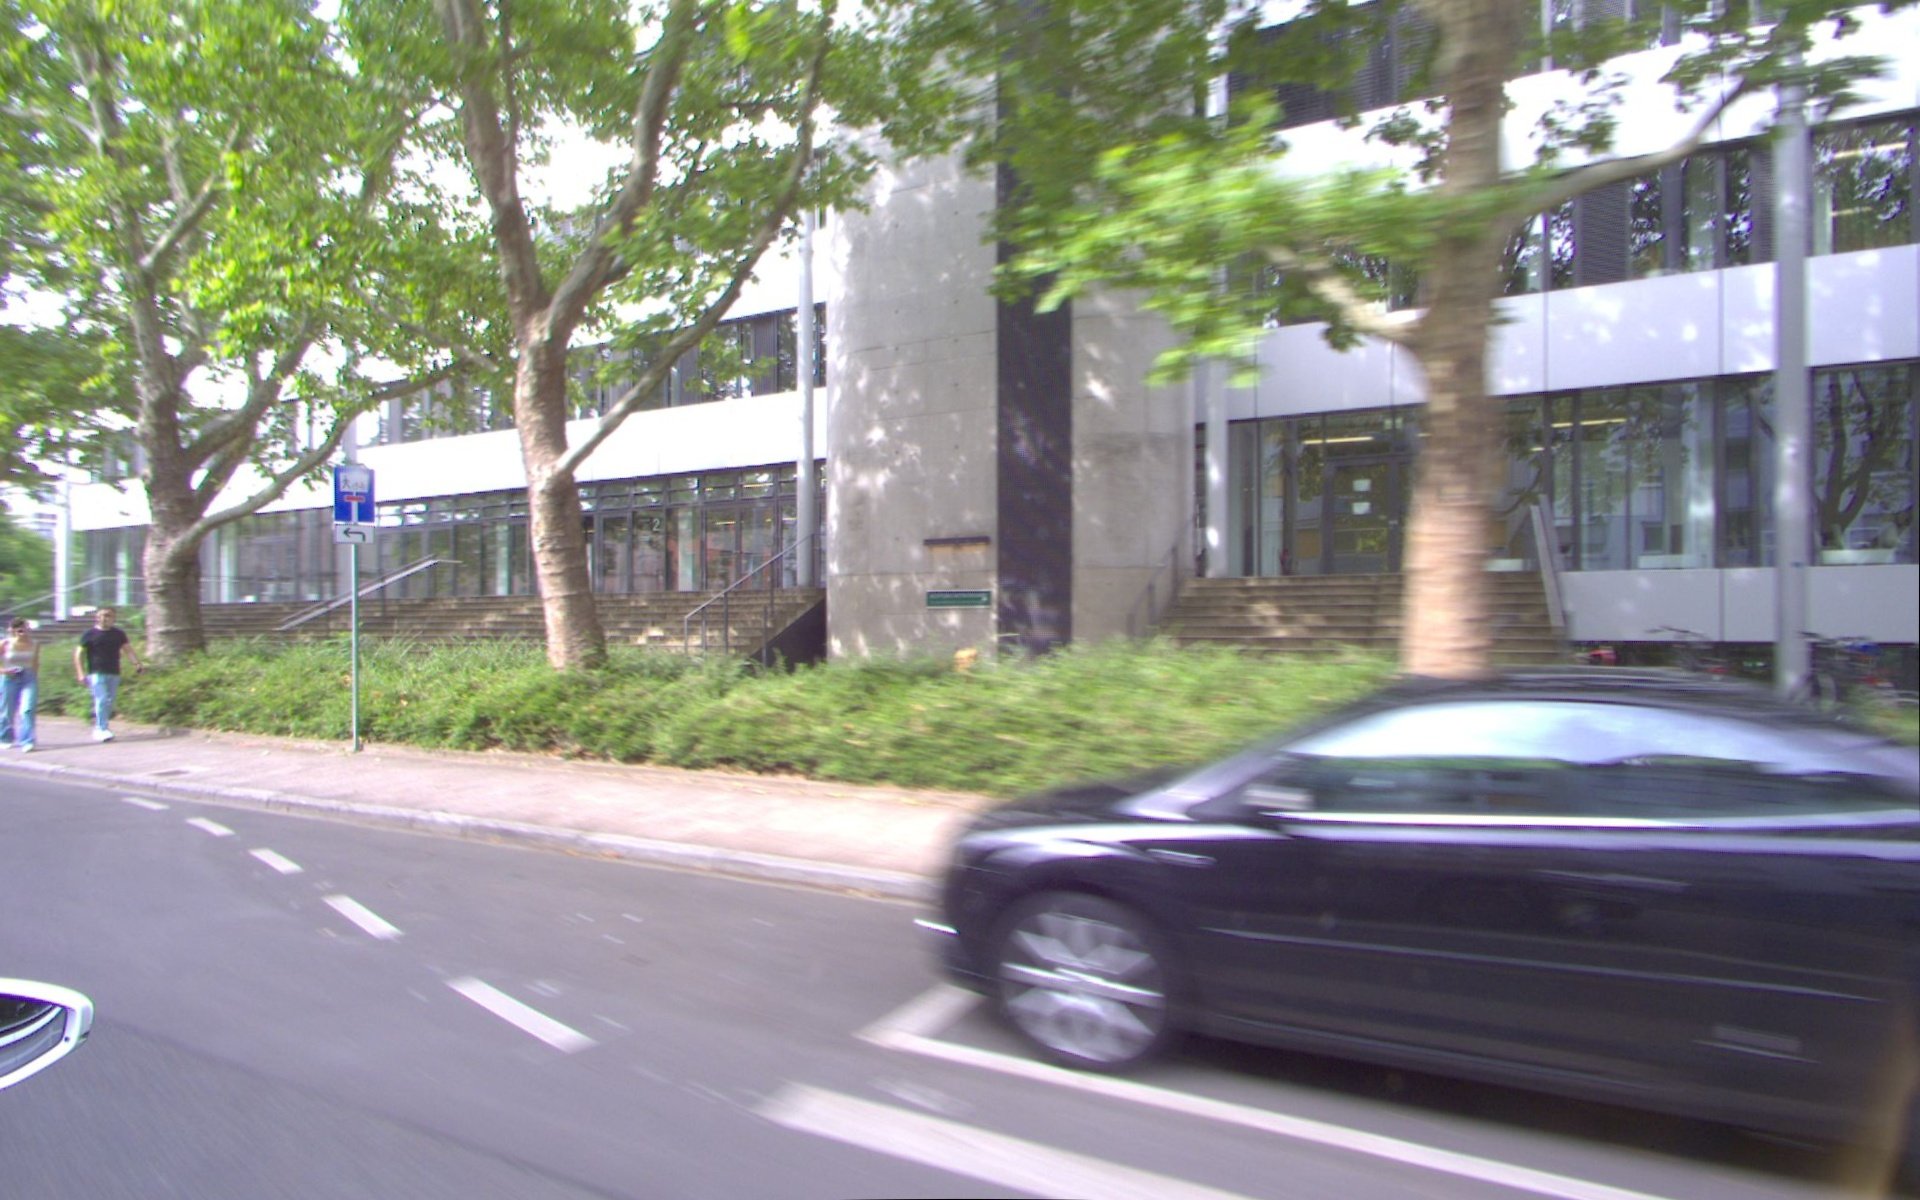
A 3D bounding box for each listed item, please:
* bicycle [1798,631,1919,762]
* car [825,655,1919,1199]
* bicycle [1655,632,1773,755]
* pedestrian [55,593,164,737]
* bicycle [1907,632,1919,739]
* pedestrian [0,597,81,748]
[{"bbox_3d":[9.093,0.905,9.989,0.663,1.132,2.078,0,0,27],"label":"bicycle"},{"bbox_3d":[1.814,0.959,3.711,4.349,1.443,1.699,0,-3,25],"label":"car"},{"bbox_3d":[7.937,0.928,10.619,0.663,1.132,1.914,0,0,27],"label":"bicycle"},{"bbox_3d":[-11.255,0.836,13.258,1.017,1.824,0.714,-1,1,26],"label":"pedestrian"},{"bbox_3d":[10.209,0.906,9.925,0.663,1.132,1.914,0,0,27],"label":"bicycle"},{"bbox_3d":[-11.710,0.879,12.521,1.017,1.807,0.710,-1,1,26],"label":"pedestrian"}]
